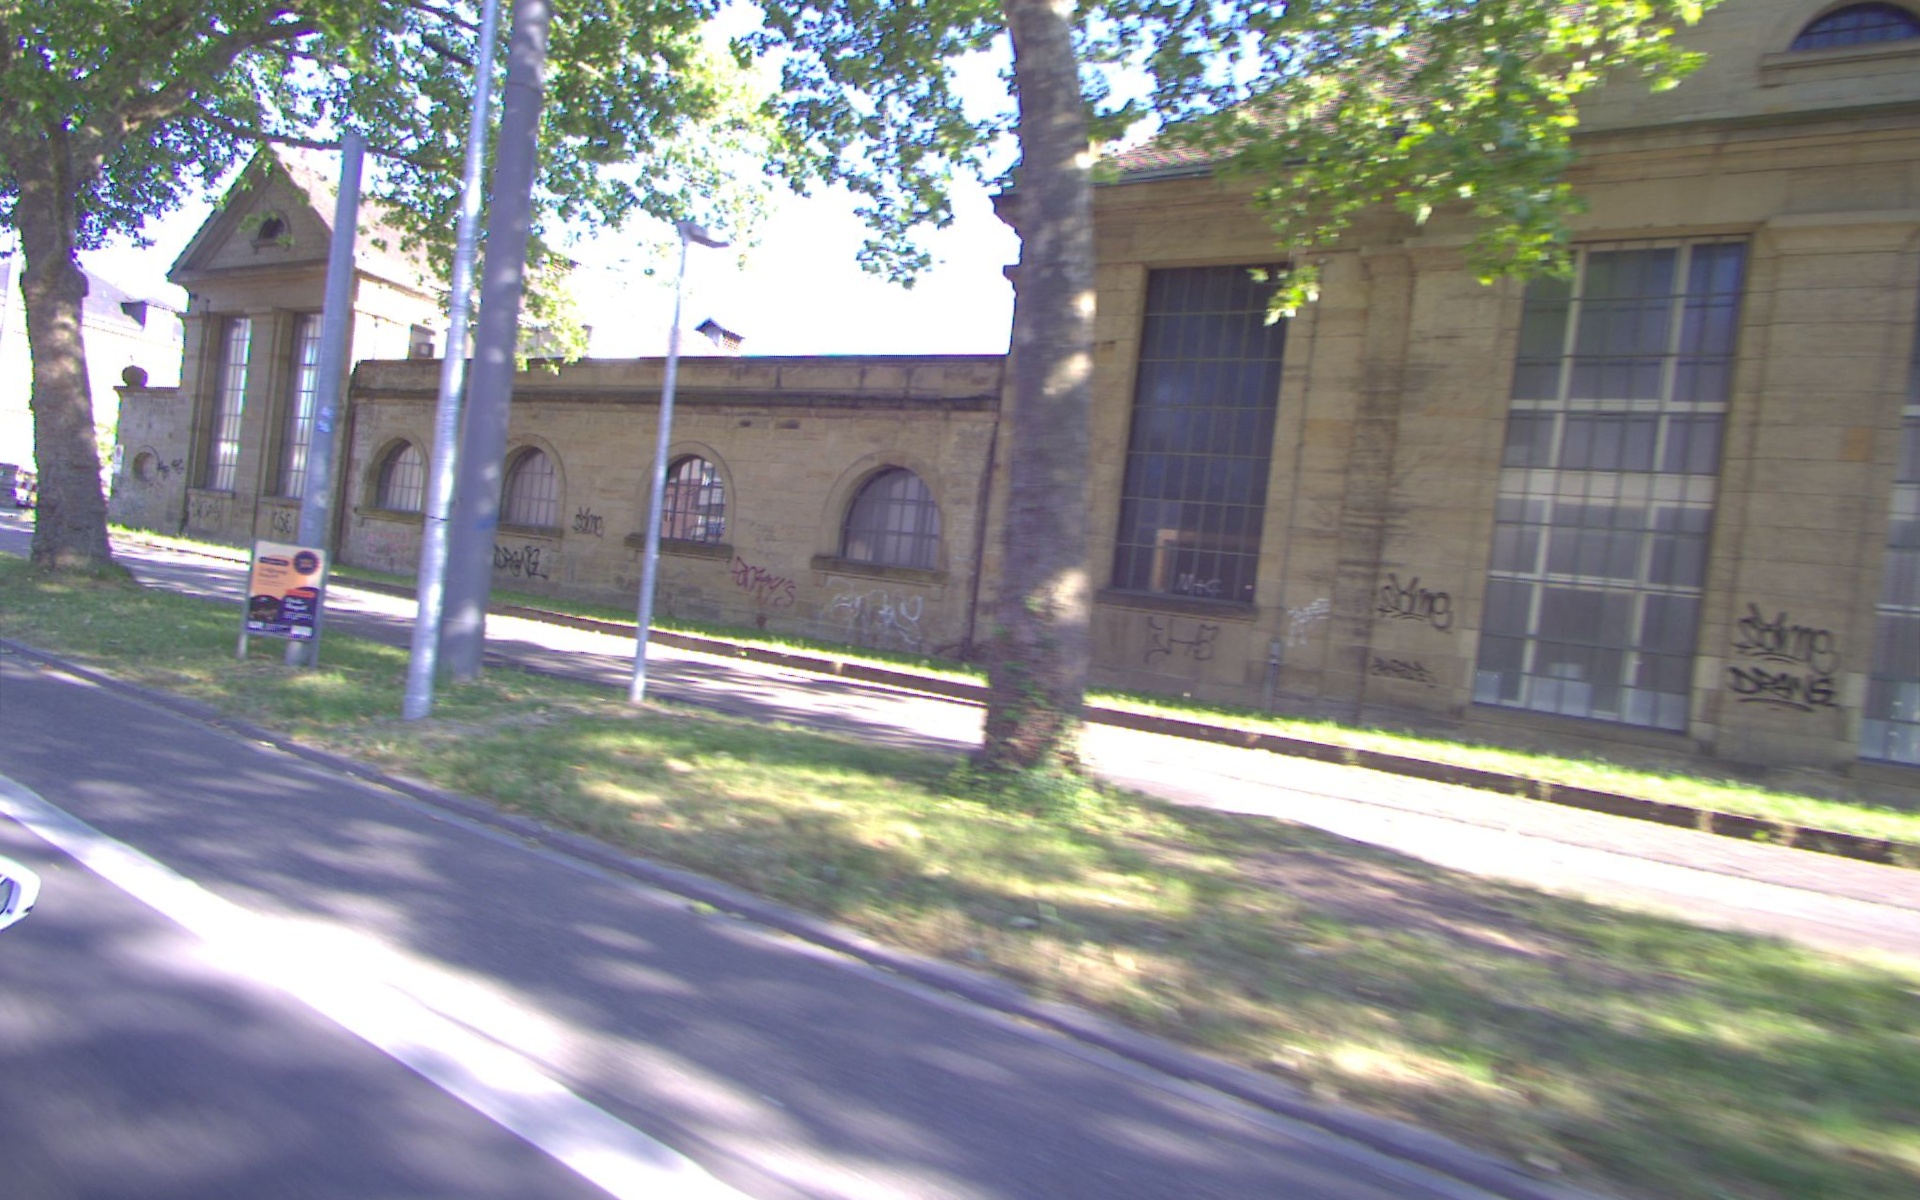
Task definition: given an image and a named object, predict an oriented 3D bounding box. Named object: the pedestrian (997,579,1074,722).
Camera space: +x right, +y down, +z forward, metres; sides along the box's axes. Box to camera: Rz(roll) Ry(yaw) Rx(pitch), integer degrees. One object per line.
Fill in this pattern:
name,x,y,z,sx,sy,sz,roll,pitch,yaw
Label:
pedestrian,0.958,0.615,12.676,0.625,1.705,0.608,7,5,27
